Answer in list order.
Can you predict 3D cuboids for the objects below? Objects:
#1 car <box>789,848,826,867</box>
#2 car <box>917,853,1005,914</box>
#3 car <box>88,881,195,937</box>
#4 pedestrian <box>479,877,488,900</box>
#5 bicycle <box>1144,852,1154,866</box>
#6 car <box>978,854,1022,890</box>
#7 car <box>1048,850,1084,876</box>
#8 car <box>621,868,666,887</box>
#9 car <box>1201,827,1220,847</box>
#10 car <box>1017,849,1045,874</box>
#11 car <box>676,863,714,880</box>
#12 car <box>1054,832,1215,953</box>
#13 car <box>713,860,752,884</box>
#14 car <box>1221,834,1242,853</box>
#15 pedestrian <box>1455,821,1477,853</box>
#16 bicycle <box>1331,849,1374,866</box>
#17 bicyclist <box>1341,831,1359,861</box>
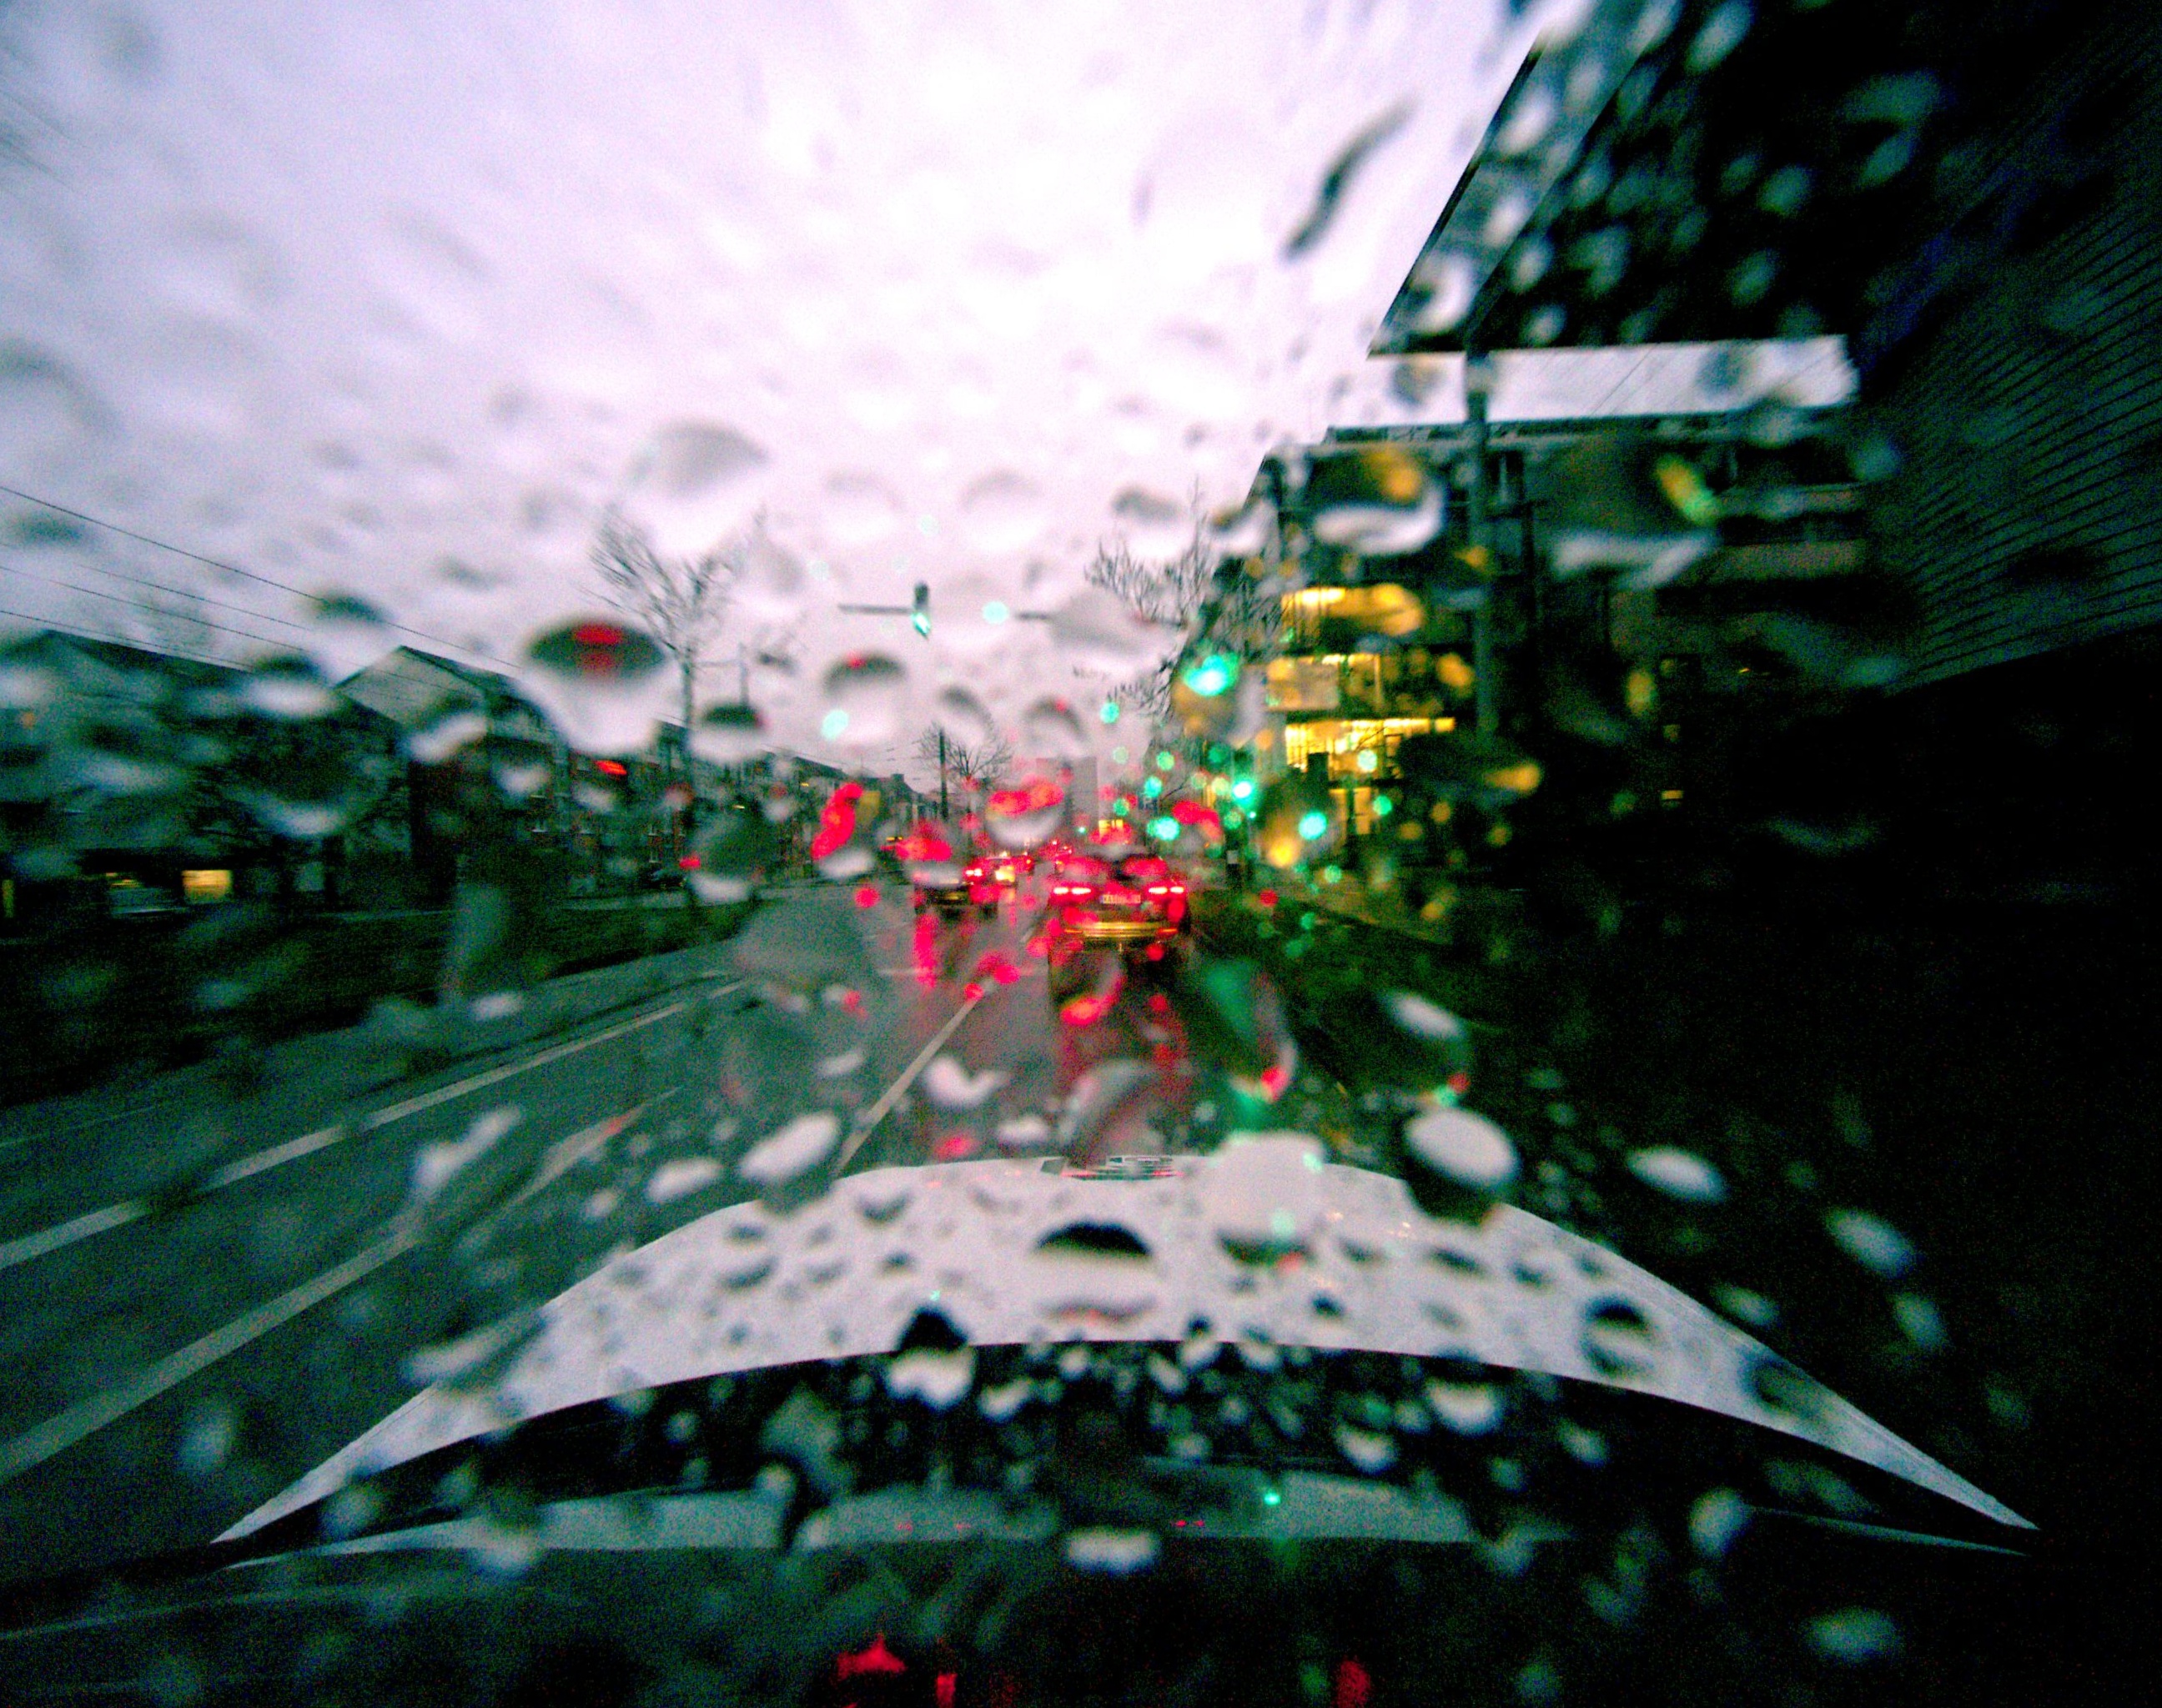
[{"bbox_3d":[-19.916,0.259,59.432,1.440,1.342,3.637,0,0,0],"label":"car"},{"bbox_3d":[-3.108,0.724,21.798,1.812,1.450,3.998,0,0,-1],"label":"car"},{"bbox_3d":[-30.230,1.709,26.181,3.749,1.555,1.753,0,0,33],"label":"car"},{"bbox_3d":[-31.230,1.815,42.554,0.348,1.184,0.429,0,0,-40],"label":"pedestrian"},{"bbox_3d":[4.696,0.332,56.059,0.543,0.965,1.345,0,0,-2],"label":"bicycle"},{"bbox_3d":[-3.843,0.839,39.190,1.684,1.635,3.474,0,0,1],"label":"car"},{"bbox_3d":[-0.892,0.518,50.287,1.859,1.543,3.614,0,0,4],"label":"car"},{"bbox_3d":[-31.956,1.679,59.571,1.440,1.287,3.386,0,0,0],"label":"car"},{"bbox_3d":[11.889,-1.515,74.921,1.619,1.759,3.427,0,0,6],"label":"car"},{"bbox_3d":[-3.527,0.517,57.796,1.656,1.759,3.570,0,0,2],"label":"car"},{"bbox_3d":[-31.297,1.442,66.147,1.440,1.287,3.386,0,0,0],"label":"car"},{"bbox_3d":[0.690,0.481,11.911,1.987,1.483,3.700,0,0,1],"label":"car"},{"bbox_3d":[-31.937,1.631,74.684,1.989,2.013,3.996,0,0,-3],"label":"car"},{"bbox_3d":[13.846,-0.963,74.848,1.619,1.759,3.427,0,0,6],"label":"car"},{"bbox_3d":[19.600,-0.860,41.512,0.804,1.654,0.727,0,0,3],"label":"pedestrian"},{"bbox_3d":[12.180,0.165,36.595,1.711,0.745,0.656,0,0,34],"label":"bicycle"},{"bbox_3d":[12.110,-0.347,36.672,0.615,1.330,0.569,0,0,34],"label":"bicyclist"}]
